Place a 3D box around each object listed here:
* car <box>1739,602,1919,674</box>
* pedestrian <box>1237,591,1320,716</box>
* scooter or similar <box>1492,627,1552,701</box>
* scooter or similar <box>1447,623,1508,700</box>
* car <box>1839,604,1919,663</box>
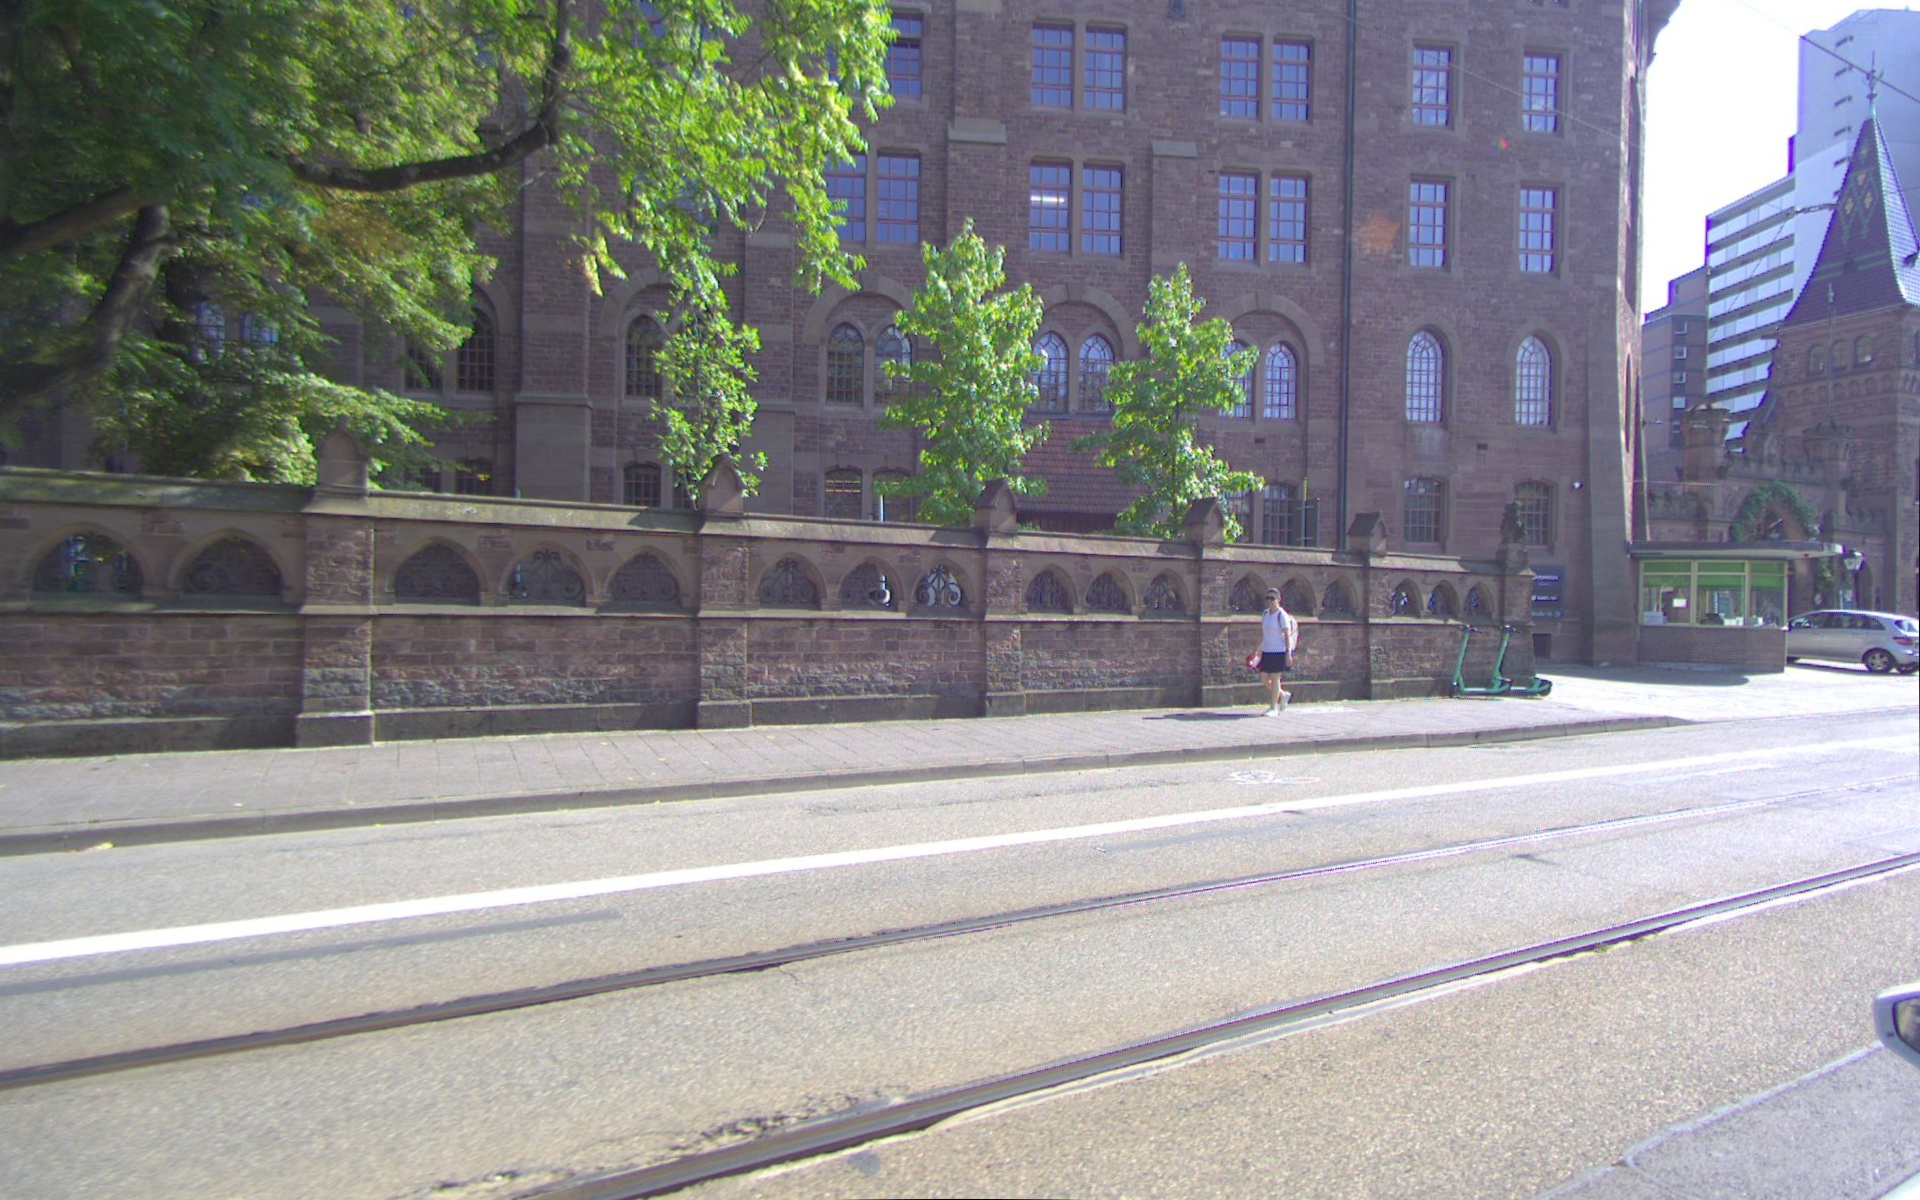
[{"bbox_3d":[24.956,1.015,28.645,1.798,1.617,3.885,1,4,-26],"label":"car"},{"bbox_3d":[4.273,0.698,13.499,0.766,1.610,0.712,1,0,-29],"label":"pedestrian"},{"bbox_3d":[9.457,1.074,16.921,0.801,1.163,0.284,4,1,25],"label":"scooter or similar"},{"bbox_3d":[8.402,0.990,16.312,0.801,1.163,0.284,4,1,25],"label":"scooter or similar"},{"bbox_3d":[30.259,1.127,30.927,1.934,1.668,4.373,1,3,-31],"label":"car"}]
